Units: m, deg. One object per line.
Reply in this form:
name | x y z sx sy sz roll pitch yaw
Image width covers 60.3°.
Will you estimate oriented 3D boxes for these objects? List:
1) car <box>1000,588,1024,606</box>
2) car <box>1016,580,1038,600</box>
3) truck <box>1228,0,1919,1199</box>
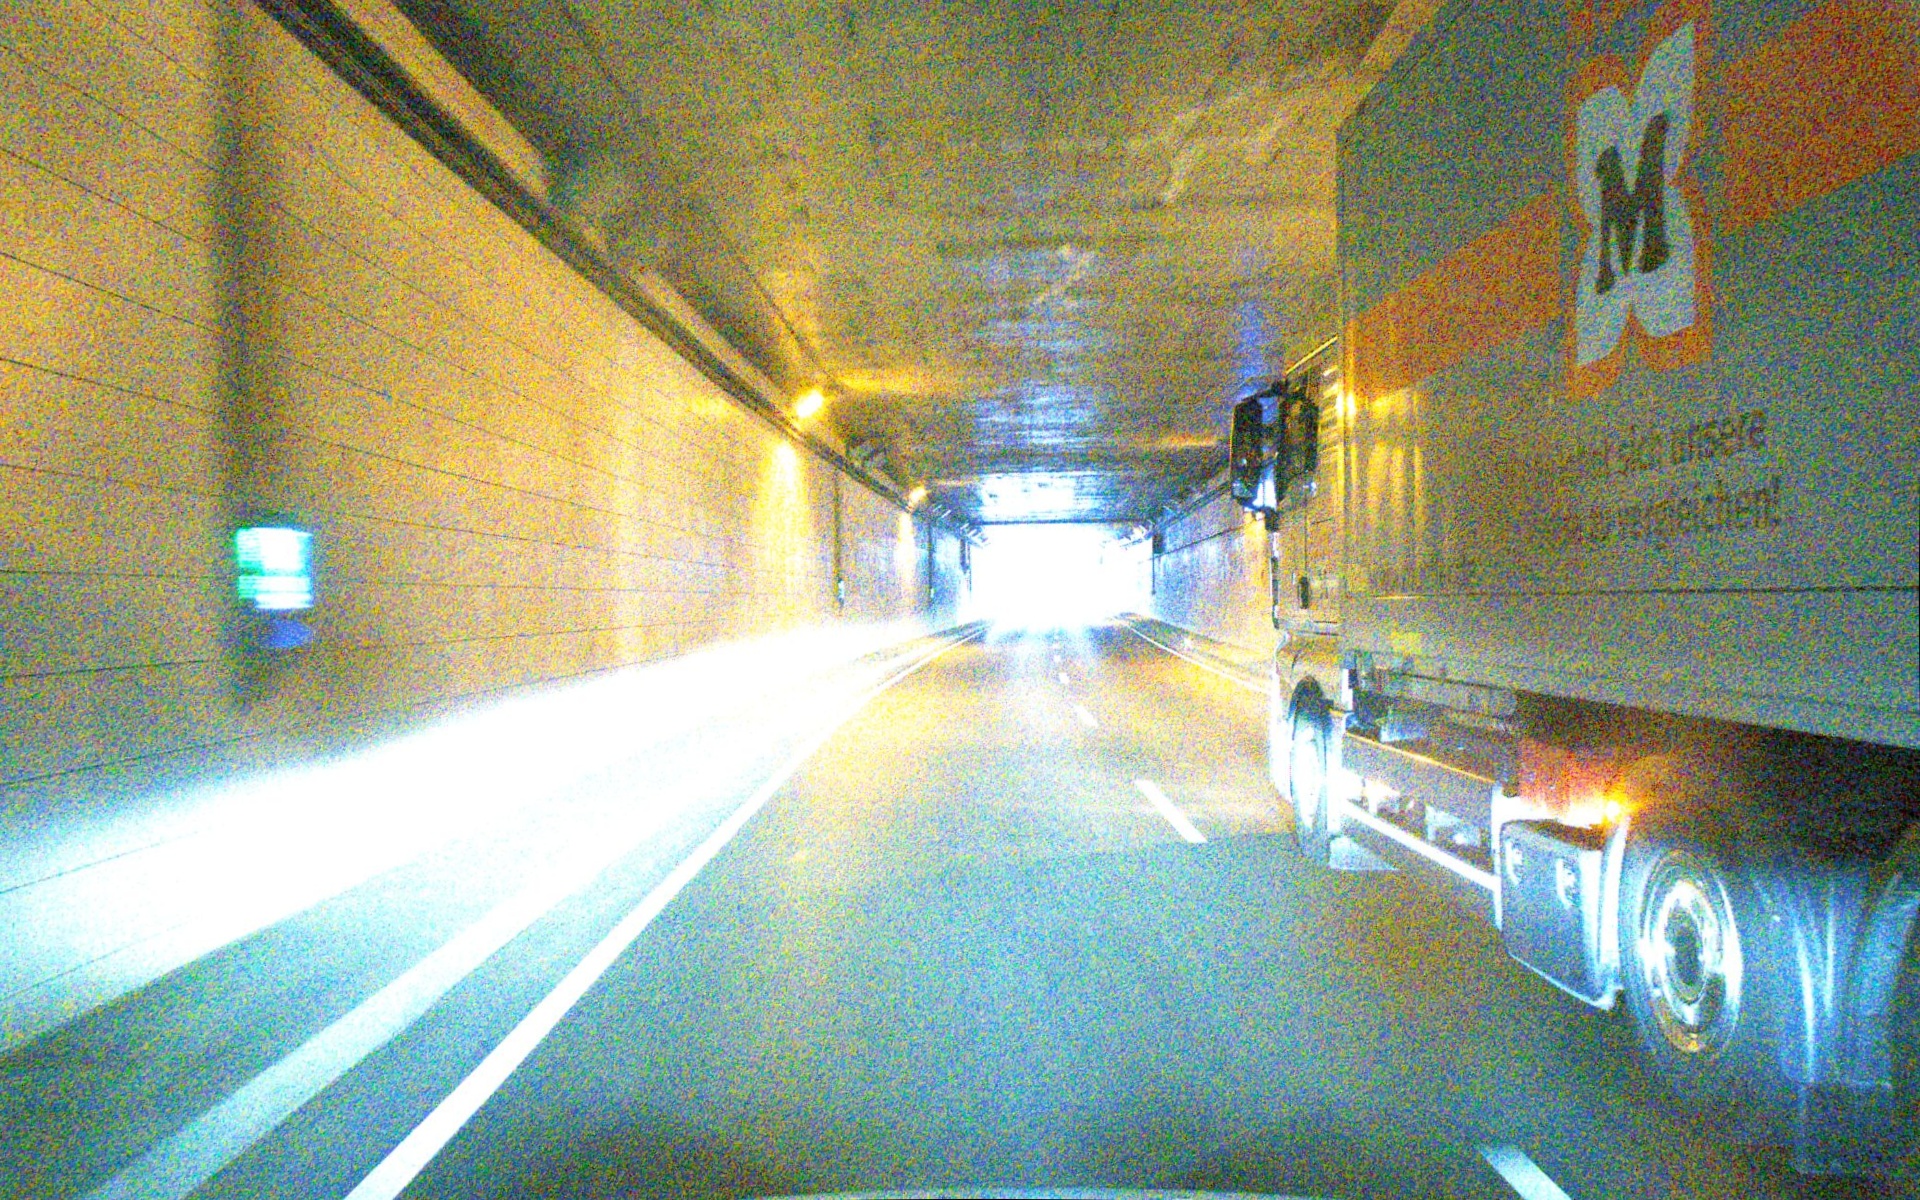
car | 4.301 -0.233 137.510 1.802 1.413 4.002 -1 0 4
car | 6.231 -0.911 154.566 1.831 1.763 3.999 -1 0 -1
truck | 3.296 -0.538 6.019 2.830 3.982 9.907 -1 0 -1
